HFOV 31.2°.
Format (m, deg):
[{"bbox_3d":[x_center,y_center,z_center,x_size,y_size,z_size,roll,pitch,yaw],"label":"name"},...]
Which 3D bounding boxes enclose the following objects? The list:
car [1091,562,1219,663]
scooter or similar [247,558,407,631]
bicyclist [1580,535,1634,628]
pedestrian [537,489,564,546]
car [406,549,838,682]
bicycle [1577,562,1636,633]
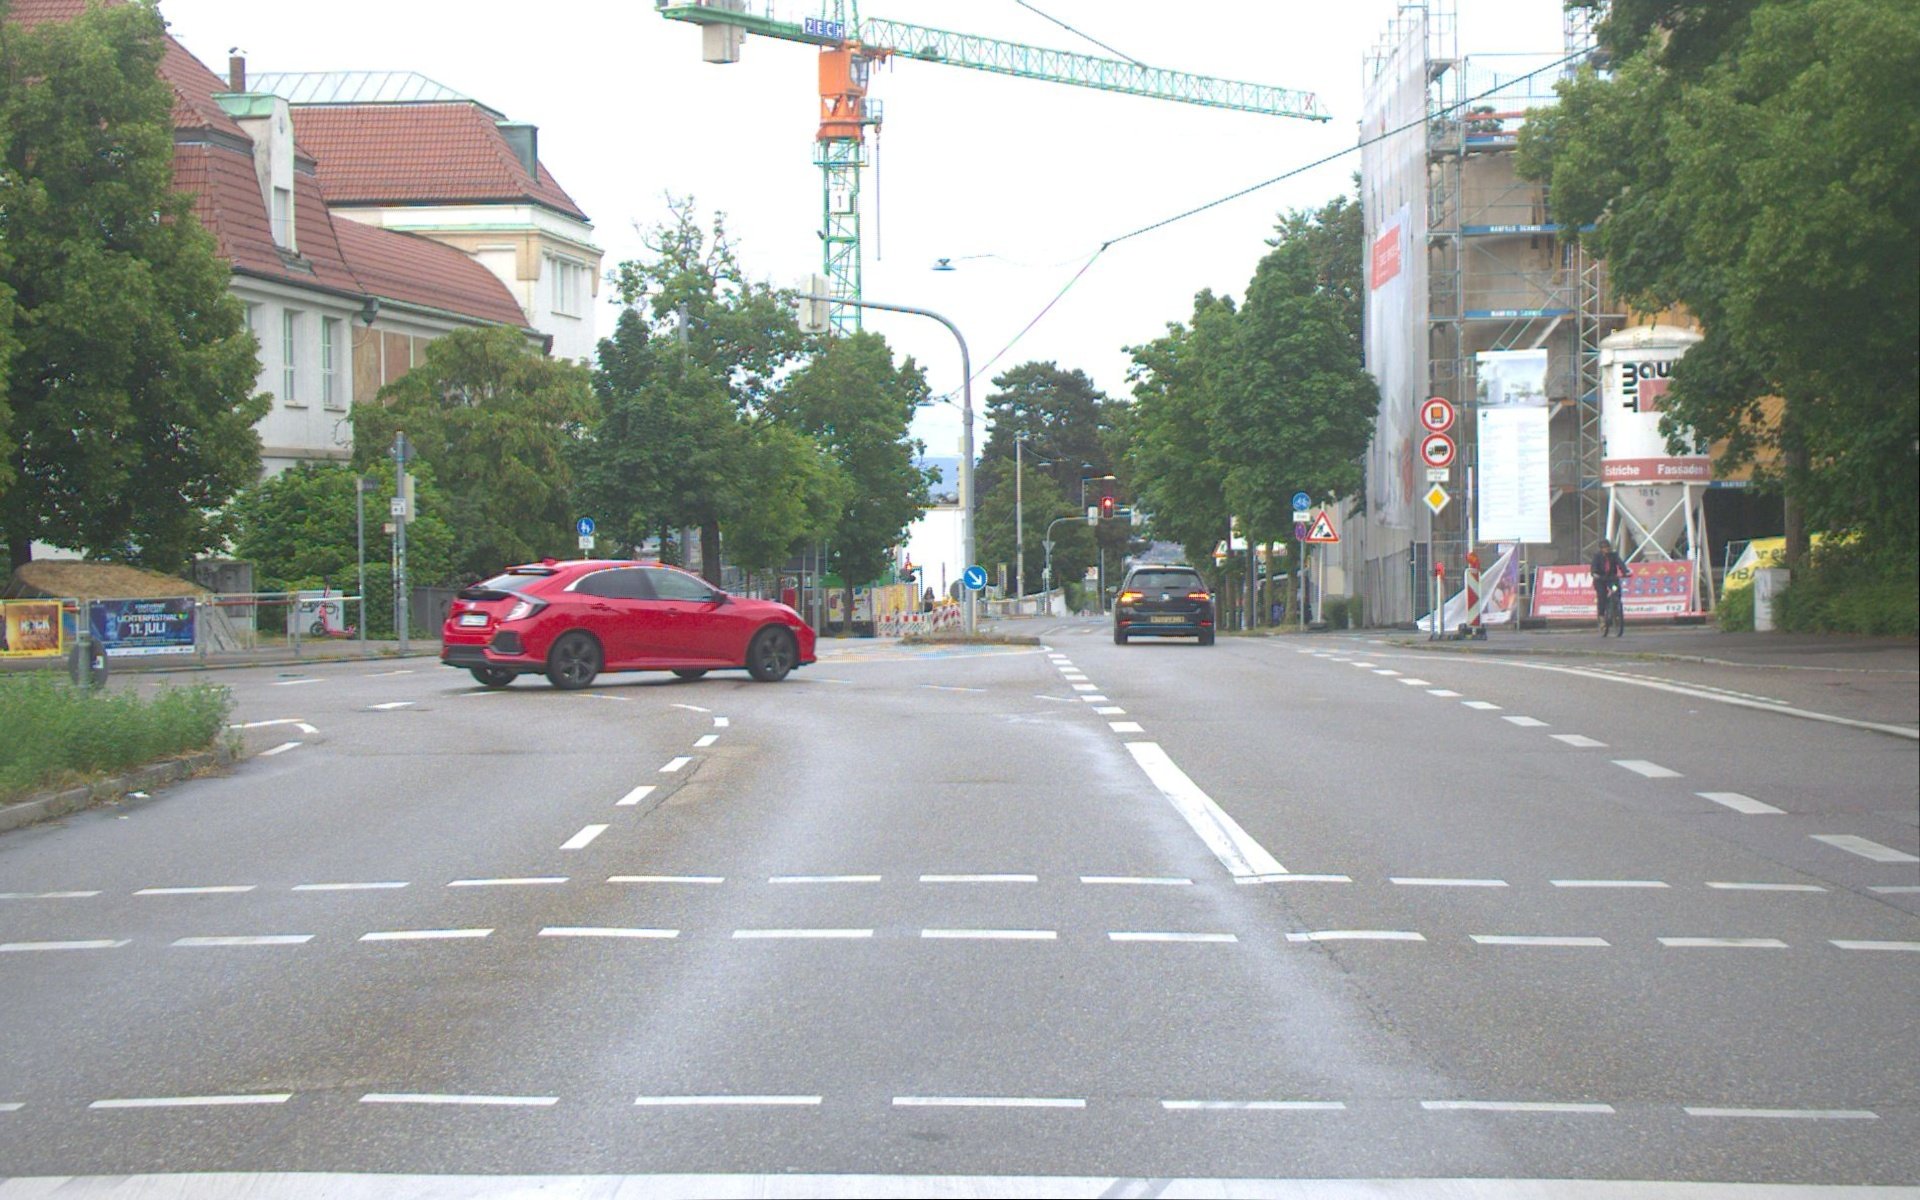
[{"bbox_3d":[3.444,0.247,61.453,1.993,1.700,4.000,1,-1,0],"label":"car"},{"bbox_3d":[-13.004,-0.119,70.682,3.087,1.435,0.949,-1,1,-2],"label":"scooter or similar"},{"bbox_3d":[11.183,-0.313,59.416,0.720,1.558,1.143,1,-1,2],"label":"bicyclist"},{"bbox_3d":[-10.408,-2.103,87.425,0.587,1.424,0.467,1,-1,1],"label":"pedestrian"},{"bbox_3d":[-3.801,0.133,39.036,4.506,1.420,2.000,-1,1,-37],"label":"car"},{"bbox_3d":[11.174,-0.028,59.472,0.720,1.189,1.756,1,-1,2],"label":"bicycle"}]
